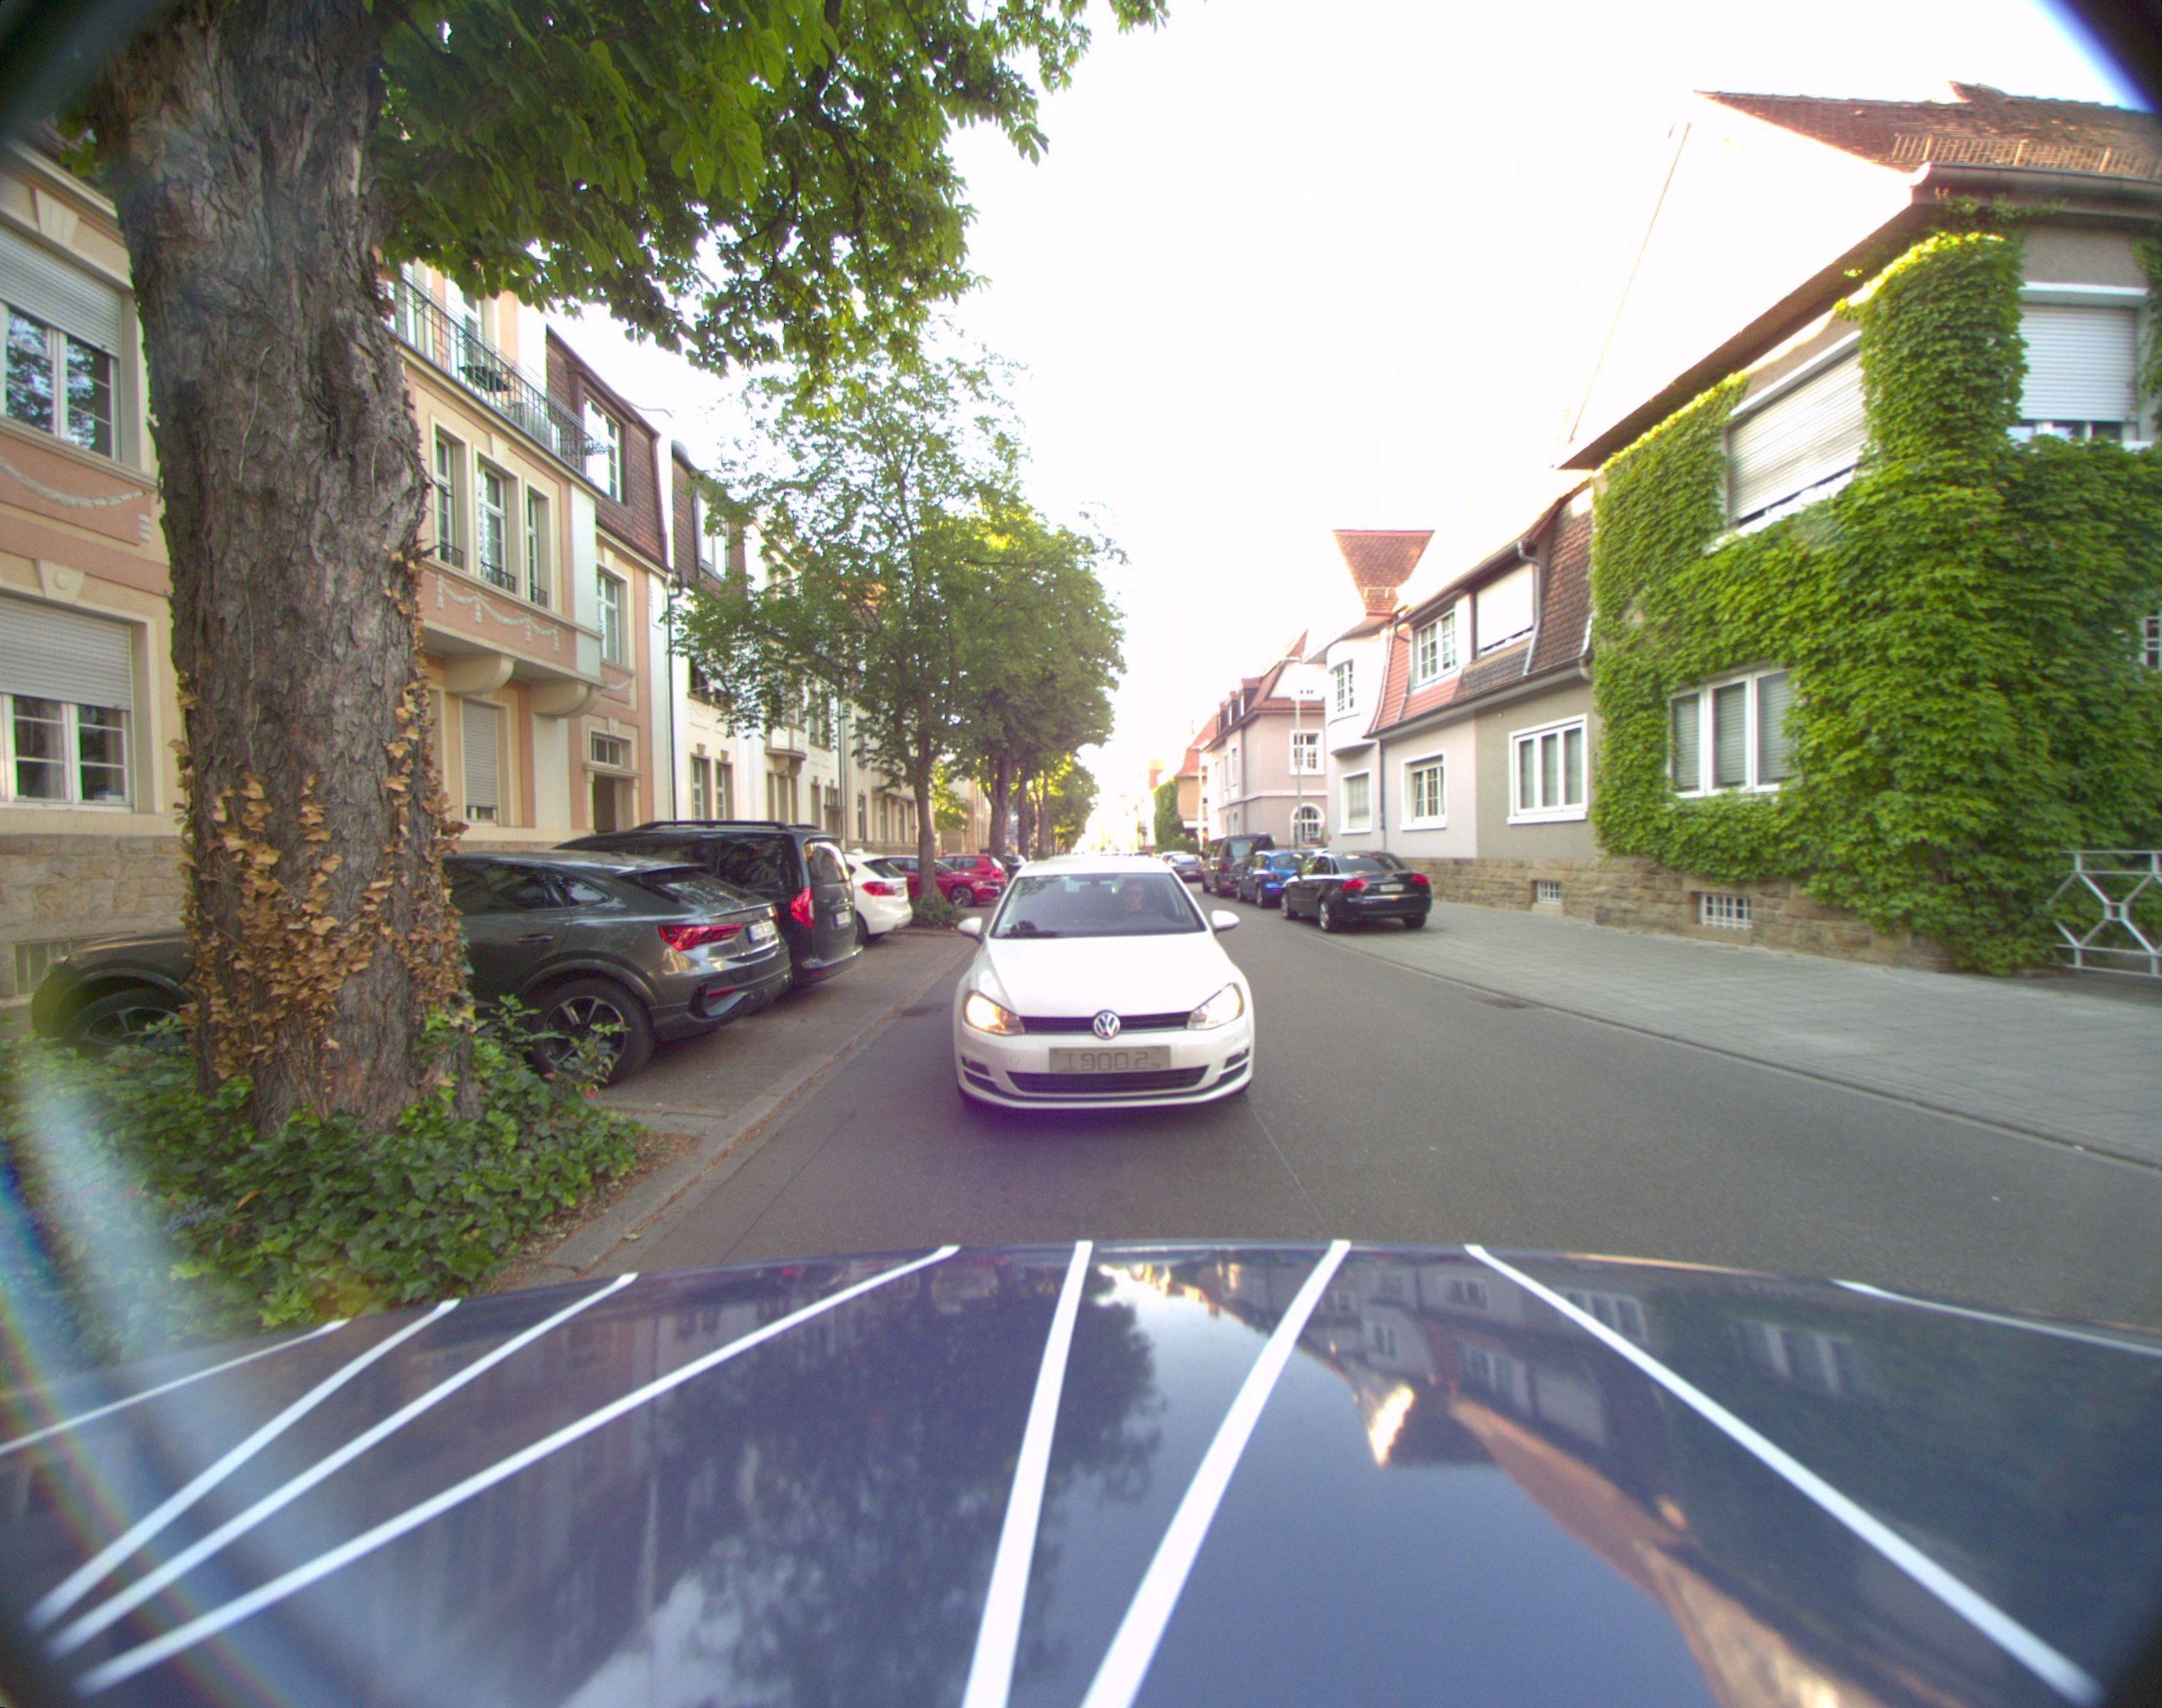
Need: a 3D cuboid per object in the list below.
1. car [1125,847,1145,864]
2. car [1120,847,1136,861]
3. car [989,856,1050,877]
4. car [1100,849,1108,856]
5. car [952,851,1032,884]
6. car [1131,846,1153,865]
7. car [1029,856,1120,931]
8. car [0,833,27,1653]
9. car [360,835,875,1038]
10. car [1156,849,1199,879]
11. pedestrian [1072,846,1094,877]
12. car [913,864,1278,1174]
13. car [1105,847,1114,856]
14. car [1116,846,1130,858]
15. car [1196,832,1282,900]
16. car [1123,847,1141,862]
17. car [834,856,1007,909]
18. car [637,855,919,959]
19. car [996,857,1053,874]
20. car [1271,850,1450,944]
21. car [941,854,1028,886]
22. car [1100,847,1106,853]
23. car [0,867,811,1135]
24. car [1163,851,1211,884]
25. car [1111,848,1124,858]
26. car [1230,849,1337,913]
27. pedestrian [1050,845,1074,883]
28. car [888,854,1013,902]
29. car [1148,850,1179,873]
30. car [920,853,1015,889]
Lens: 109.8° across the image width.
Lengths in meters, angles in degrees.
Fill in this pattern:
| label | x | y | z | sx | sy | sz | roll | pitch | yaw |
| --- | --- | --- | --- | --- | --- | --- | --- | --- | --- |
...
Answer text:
| label | x | y | z | sx | sy | sz | roll | pitch | yaw |
| --- | --- | --- | --- | --- | --- | --- | --- | --- | --- |
| car | 5.335 | 0.110 | 75.266 | 1.699 | 1.520 | 3.677 | -3 | 1 | 2 |
| car | 5.564 | -0.056 | 91.004 | 1.699 | 1.520 | 3.677 | -3 | 1 | 2 |
| car | -3.566 | 0.724 | 44.431 | 3.399 | 1.143 | 1.542 | 0 | 1 | 2 |
| car | 5.288 | -0.279 | 173.285 | 1.699 | 1.520 | 3.677 | -3 | 1 | 2 |
| car | -4.282 | 0.617 | 36.835 | 3.680 | 1.548 | 1.576 | 0 | 1 | 2 |
| car | 5.421 | 0.143 | 68.001 | 1.699 | 1.558 | 3.677 | -3 | 1 | 2 |
| car | -0.092 | 0.805 | 17.434 | 1.819 | 1.454 | 4.072 | -2 | 0 | 1 |
| car | -4.596 | 0.765 | 0.517 | 4.763 | 1.864 | 1.896 | 0 | 1 | -4 |
| car | -4.438 | 0.733 | 7.827 | 4.121 | 1.827 | 1.844 | 0 | 1 | -2 |
| car | 5.282 | 0.499 | 42.139 | 1.932 | 1.458 | 4.062 | -3 | 1 | 2 |
| pedestrian | 0.113 | 0.505 | 49.050 | 1.276 | 1.927 | 1.186 | -3 | 1 | -1 |
| car | 0.111 | 0.878 | 5.934 | 1.819 | 1.454 | 4.072 | -2 | 0 | 1 |
| car | 5.575 | -0.485 | 149.115 | 1.699 | 1.520 | 3.677 | -3 | 1 | 2 |
| car | 5.546 | -0.254 | 100.730 | 1.699 | 1.520 | 3.677 | -3 | 1 | 2 |
| car | 5.144 | 0.349 | 25.349 | 1.842 | 1.964 | 4.612 | -3 | 1 | 0 |
| car | 5.436 | 0.052 | 80.758 | 1.699 | 1.520 | 3.677 | -3 | 1 | 2 |
| car | -4.535 | 0.794 | 21.933 | 4.530 | 1.443 | 1.867 | 0 | 1 | 3 |
| car | -4.832 | 0.812 | 12.527 | 3.950 | 1.568 | 1.719 | 0 | 1 | 0 |
| car | -3.517 | 0.717 | 47.637 | 3.399 | 1.057 | 1.542 | 0 | 1 | 2 |
| car | 5.143 | 0.692 | 14.679 | 1.806 | 1.438 | 4.428 | -3 | 1 | 0 |
| car | -4.316 | 0.708 | 34.321 | 3.680 | 1.390 | 1.576 | 0 | 1 | 2 |
| car | 5.849 | -0.978 | 202.664 | 1.699 | 1.520 | 3.677 | -3 | 1 | 2 |
| car | -4.541 | 0.884 | 5.502 | 4.522 | 1.514 | 1.844 | 0 | 1 | -4 |
| car | 5.060 | 0.589 | 36.662 | 1.932 | 1.376 | 4.063 | -3 | 1 | 4 |
| car | 5.551 | -0.153 | 115.857 | 1.699 | 1.520 | 3.677 | -3 | 1 | 2 |
| car | 5.279 | 0.640 | 20.338 | 1.768 | 1.438 | 4.062 | -3 | 1 | 0 |
| pedestrian | -0.984 | 0.527 | 39.688 | 1.119 | 1.927 | 1.097 | -3 | 1 | -1 |
| car | -4.140 | 0.746 | 24.461 | 3.680 | 1.473 | 1.659 | 0 | 1 | 3 |
| car | 5.438 | 0.466 | 50.378 | 1.662 | 1.354 | 3.677 | -3 | 1 | 2 |
| car | -4.679 | 0.705 | 31.705 | 3.680 | 1.458 | 1.576 | 0 | 1 | 2 |
